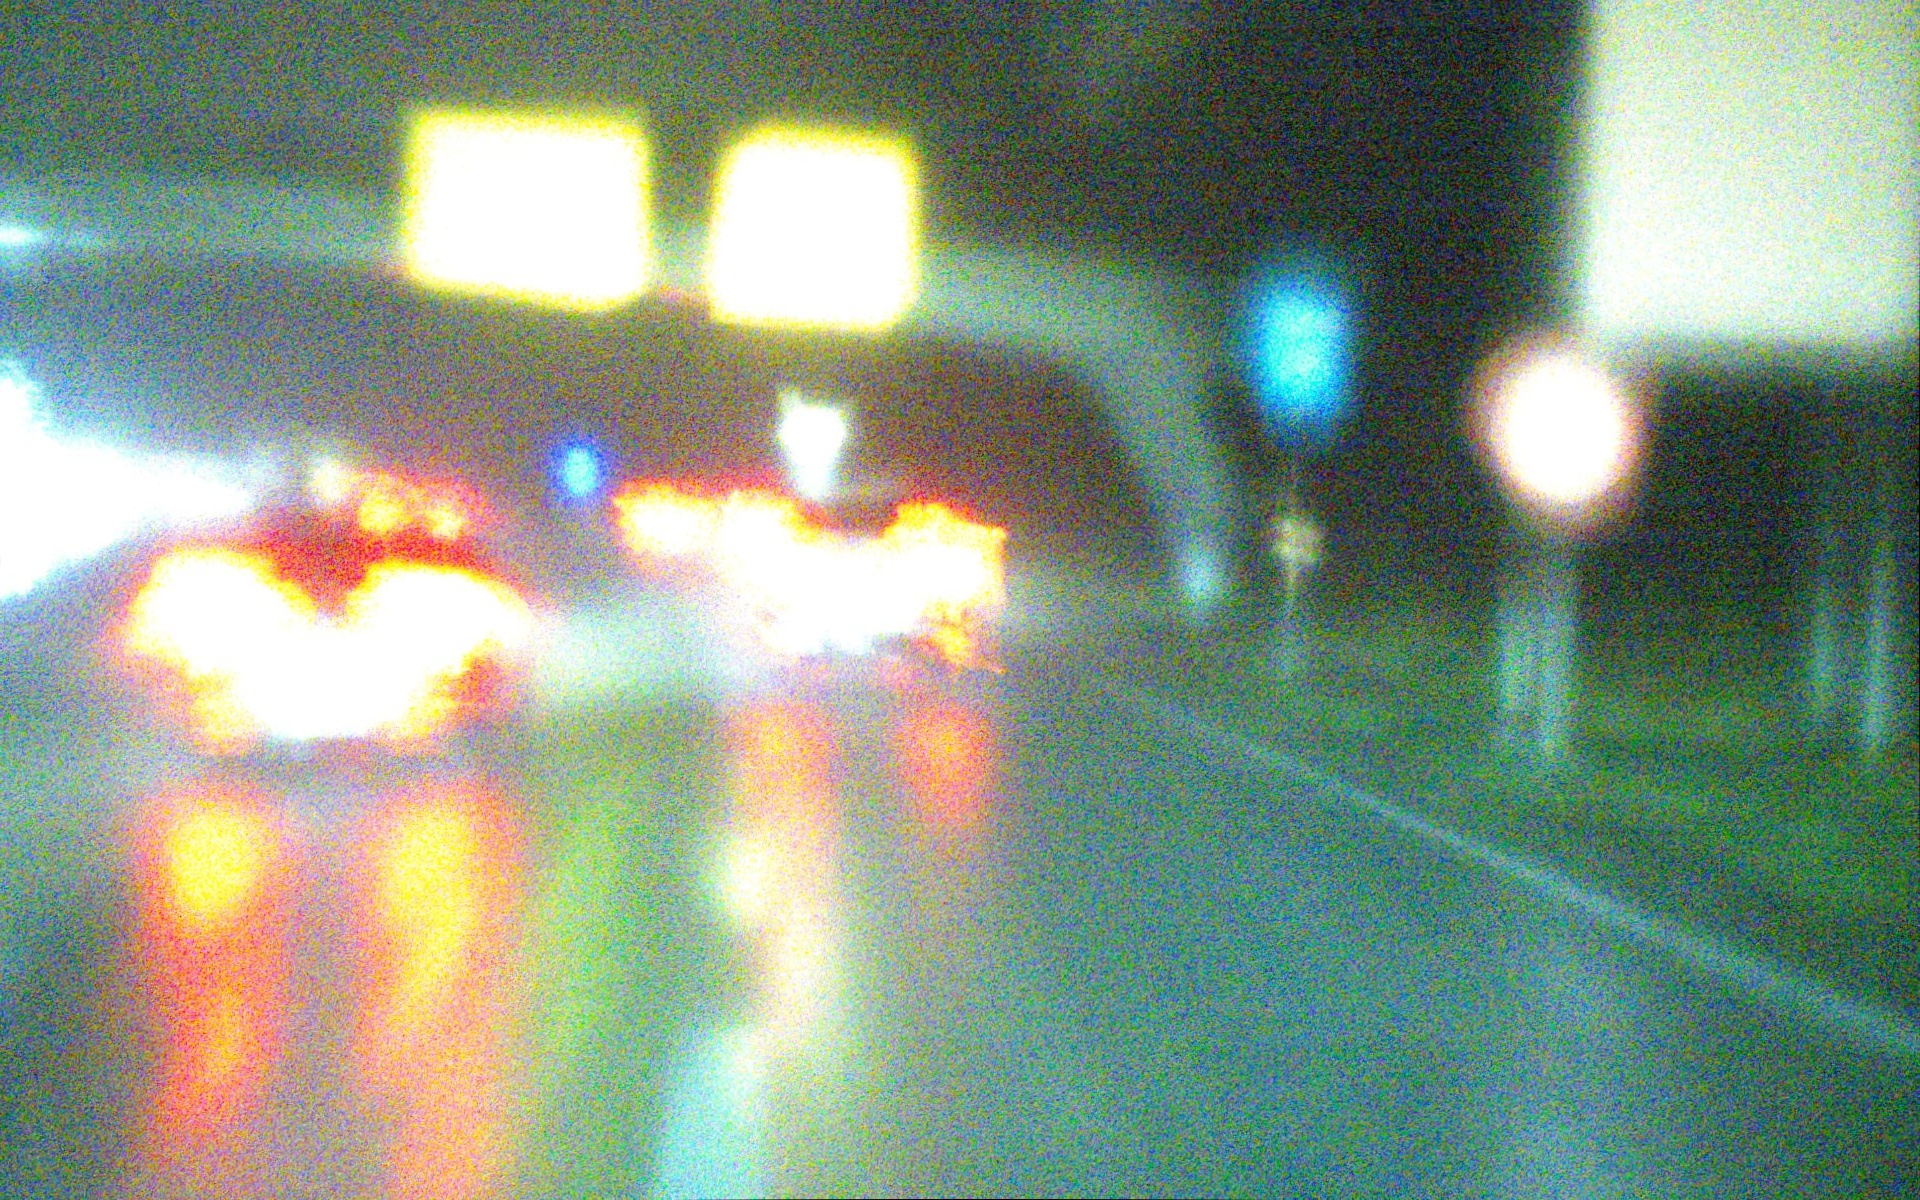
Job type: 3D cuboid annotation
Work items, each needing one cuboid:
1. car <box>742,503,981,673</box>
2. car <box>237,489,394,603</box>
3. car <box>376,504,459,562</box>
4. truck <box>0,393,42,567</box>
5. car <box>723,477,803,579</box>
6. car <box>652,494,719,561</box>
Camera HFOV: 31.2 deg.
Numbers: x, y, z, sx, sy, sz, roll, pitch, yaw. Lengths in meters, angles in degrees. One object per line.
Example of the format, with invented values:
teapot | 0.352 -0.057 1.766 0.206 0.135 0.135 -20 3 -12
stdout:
car | -0.908 -0.129 30.631 1.962 1.376 4.050 1 1 -3
car | -9.174 -0.776 49.161 1.892 1.545 4.001 1 1 -6
car | -14.957 -1.847 94.992 1.895 1.539 4.001 1 1 -4
truck | -25.635 -3.105 89.489 2.564 4.389 5.852 1 1 -8
car | -3.999 -1.486 69.786 1.553 2.006 4.001 1 2 -3
car | -8.475 -2.231 106.337 1.993 2.007 4.001 1 1 -4
